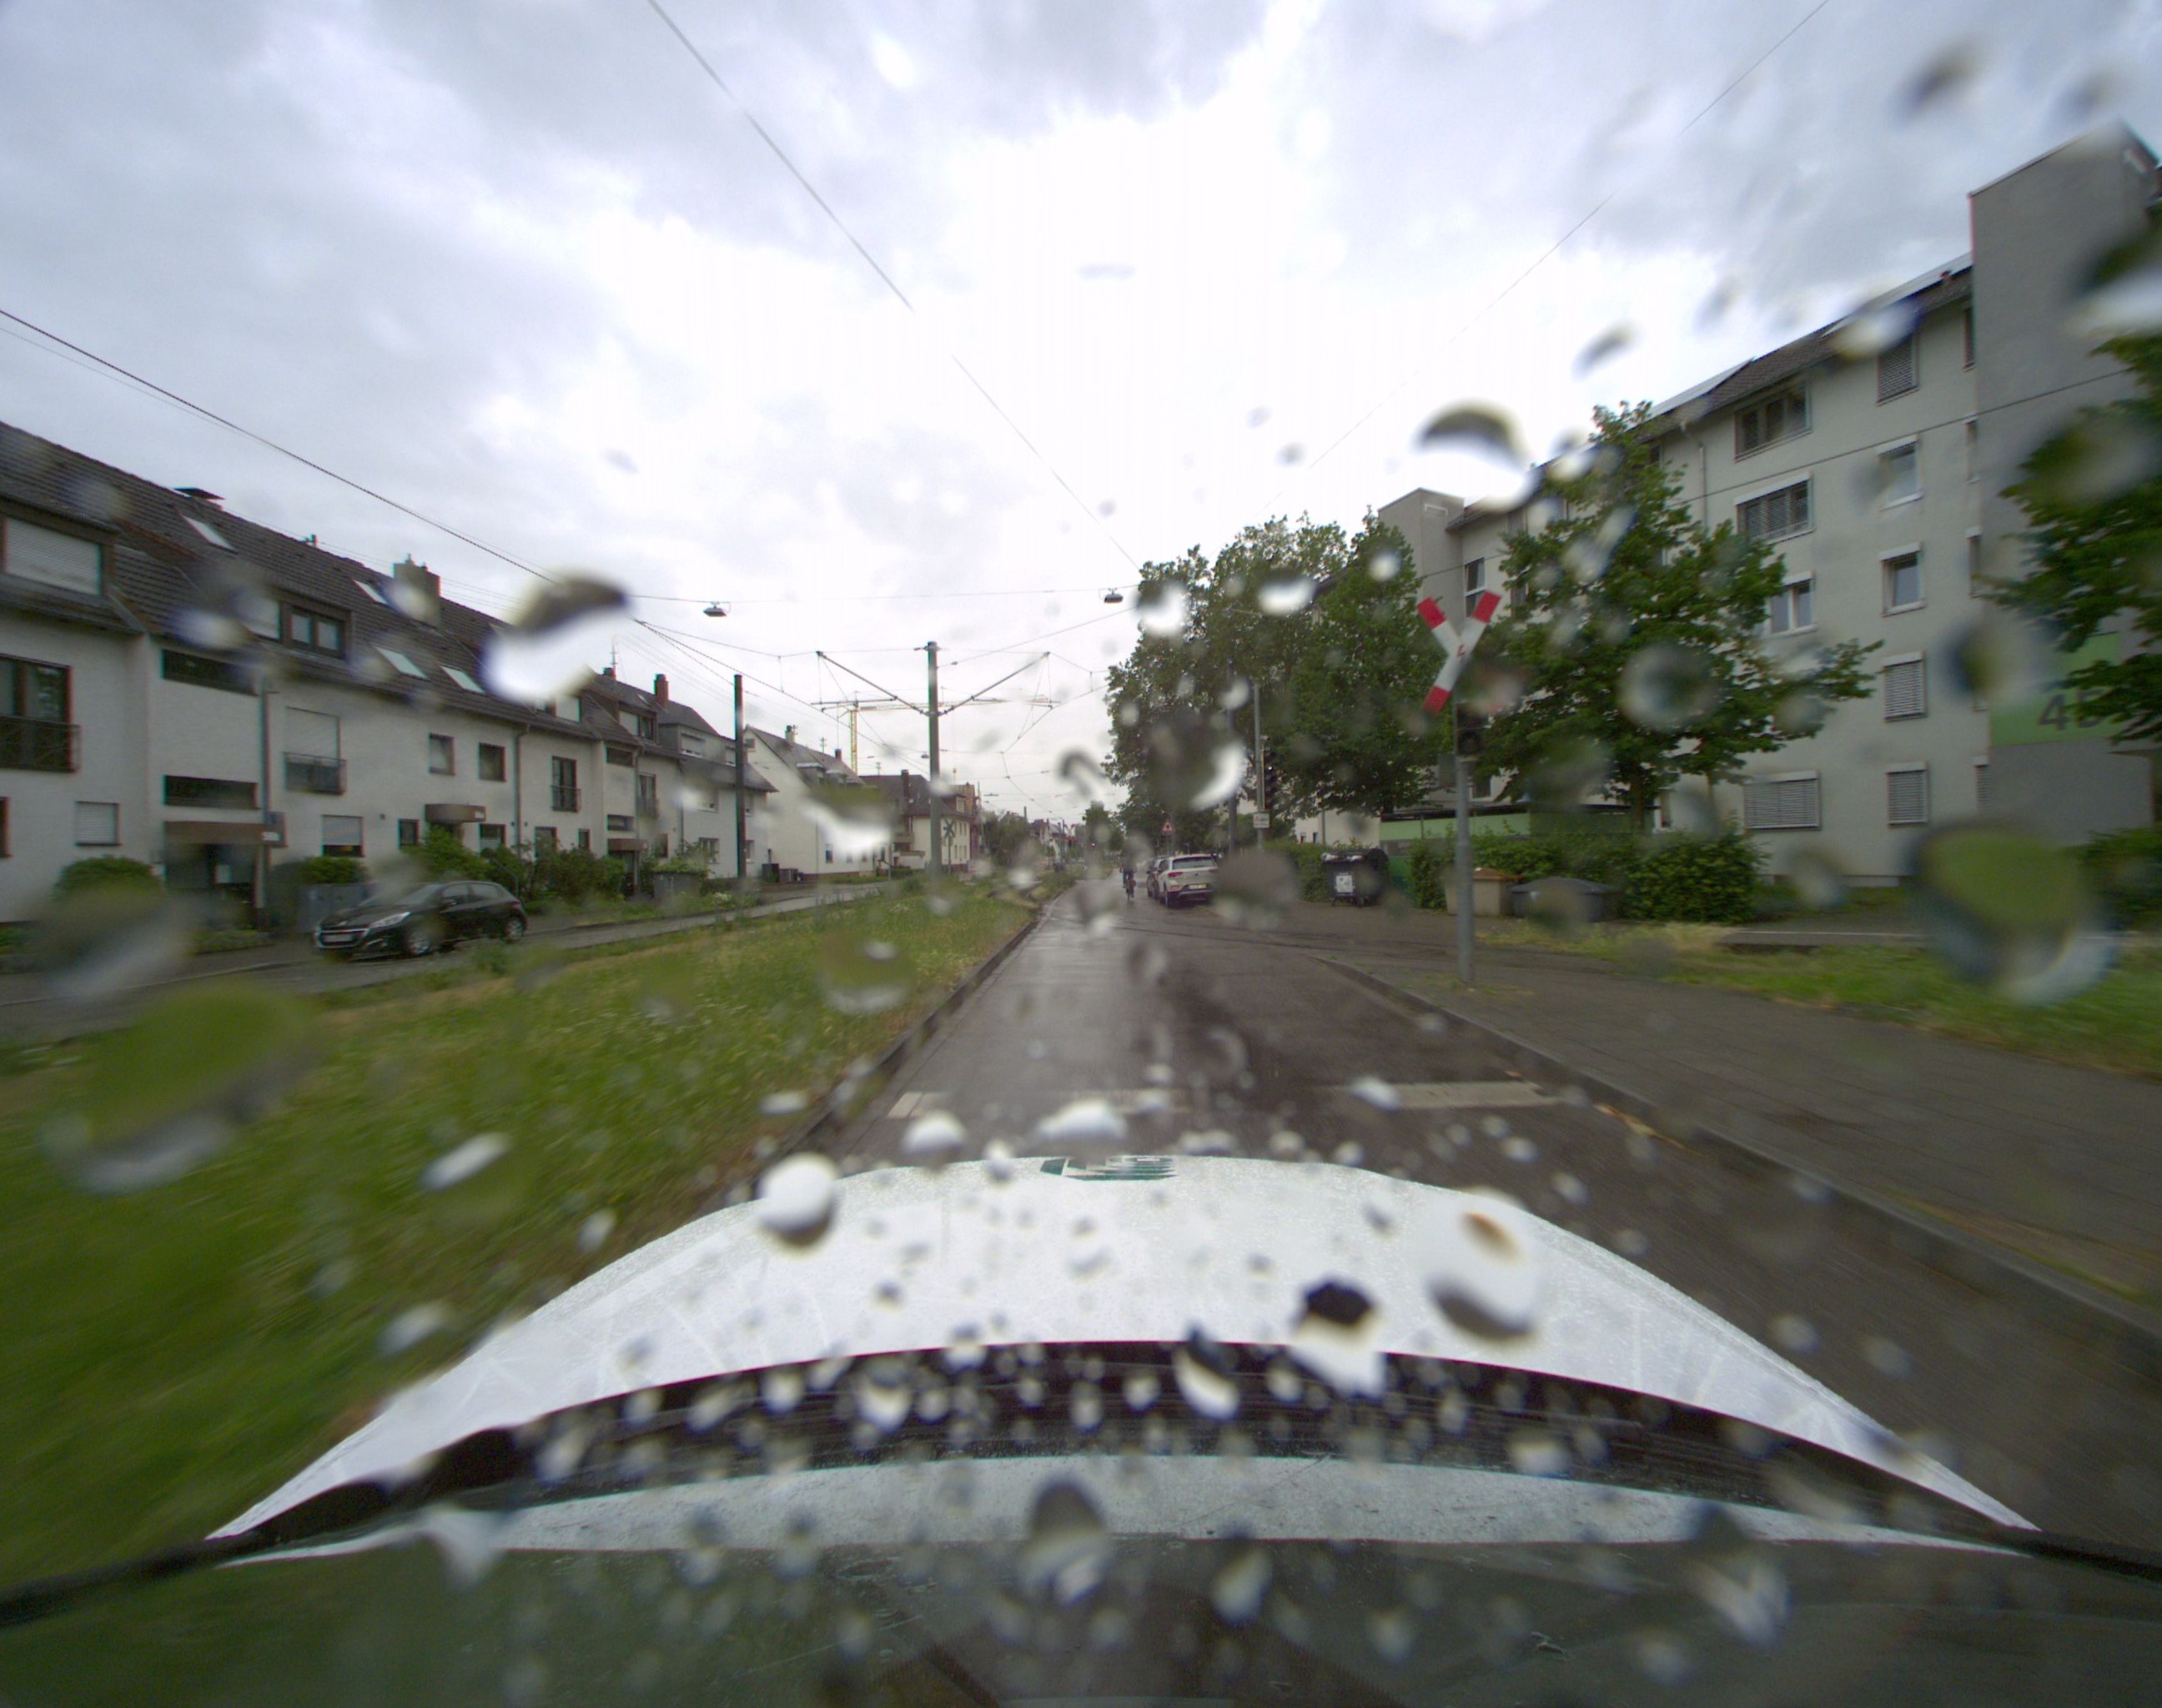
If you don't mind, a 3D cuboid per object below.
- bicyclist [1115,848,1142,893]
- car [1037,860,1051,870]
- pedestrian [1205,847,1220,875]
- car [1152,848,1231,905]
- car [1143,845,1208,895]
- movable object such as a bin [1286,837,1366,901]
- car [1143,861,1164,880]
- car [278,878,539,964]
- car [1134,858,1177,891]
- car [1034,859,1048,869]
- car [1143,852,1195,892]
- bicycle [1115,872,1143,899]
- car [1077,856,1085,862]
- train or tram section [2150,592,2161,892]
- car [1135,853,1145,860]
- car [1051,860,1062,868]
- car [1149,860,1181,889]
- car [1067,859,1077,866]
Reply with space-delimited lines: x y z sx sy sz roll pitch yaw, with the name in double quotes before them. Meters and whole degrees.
"bicyclist" 1.714 0.599 29.339 0.828 1.558 0.913 -2 -1 -2
"car" -6.699 1.947 147.759 1.985 1.705 4.002 -2 -2 3
"pedestrian" 8.233 0.420 50.848 0.745 1.716 0.750 -3 -1 1
"car" 3.409 0.697 25.858 1.948 1.553 4.000 -3 -1 0
"car" 3.497 0.607 30.850 1.935 1.652 4.000 -3 -1 0
"movable object such as a bin" 6.980 0.421 23.293 1.556 1.704 1.489 -2 0 -22
"car" 8.179 1.824 92.444 1.935 2.013 4.000 -3 -1 0
"car" -13.556 1.291 16.825 1.870 1.504 4.134 -1 -2 1
"car" 4.028 1.111 44.453 1.935 1.652 4.000 -3 -1 0
"car" -7.030 1.708 142.138 1.985 1.544 4.002 -2 -2 3
"car" 3.998 0.827 37.539 1.935 1.652 4.000 -3 -1 0
"bicycle" 1.733 1.132 29.483 0.819 0.912 1.984 -2 -1 -1
"car" -0.017 1.364 240.020 1.985 1.544 4.002 -2 -2 3
"train or tram section" 14.143 -0.719 1.452 2.729 3.590 14.560 1 -2 -41
"car" 13.961 0.696 193.058 1.986 1.492 4.001 -1 -2 2
"car" -5.104 2.119 172.233 1.985 1.544 4.002 -2 -2 3
"car" 6.316 1.558 61.669 1.935 2.013 4.000 -3 -1 0
"car" -2.136 2.073 195.174 1.985 1.544 4.002 -2 -2 3
